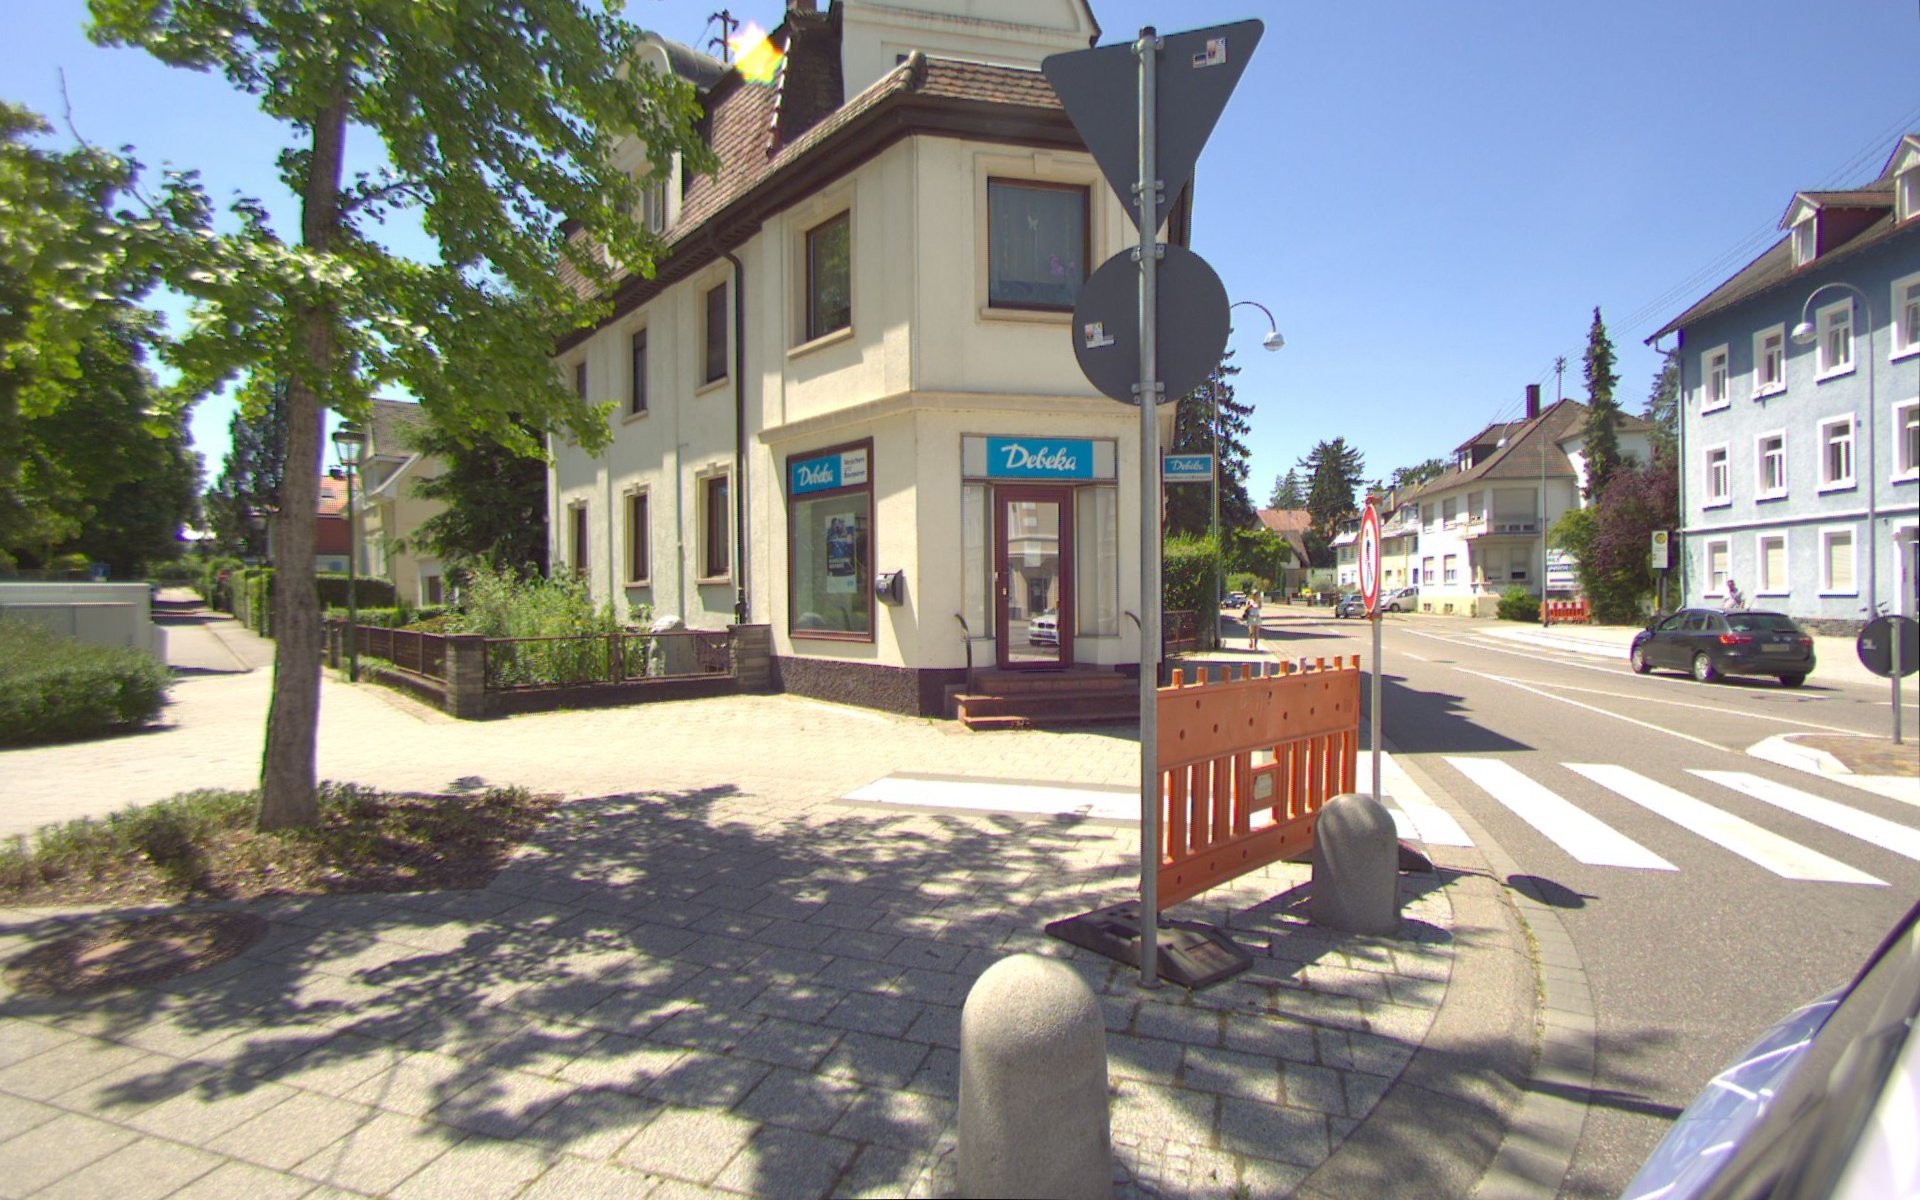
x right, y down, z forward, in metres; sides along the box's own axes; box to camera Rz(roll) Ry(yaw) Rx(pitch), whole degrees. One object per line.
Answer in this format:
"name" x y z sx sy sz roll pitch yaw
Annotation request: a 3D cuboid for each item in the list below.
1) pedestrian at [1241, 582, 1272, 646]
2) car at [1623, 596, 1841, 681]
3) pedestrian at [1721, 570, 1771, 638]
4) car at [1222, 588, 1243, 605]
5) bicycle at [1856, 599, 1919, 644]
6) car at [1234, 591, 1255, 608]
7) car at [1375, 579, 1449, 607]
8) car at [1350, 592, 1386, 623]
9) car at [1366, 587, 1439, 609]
"pedestrian" 8.079 0.370 27.560 0.615 1.664 0.769 4 1 11
"car" 14.963 0.682 19.907 1.637 1.470 4.013 1 0 8
"pedestrian" 22.623 0.117 29.140 0.745 1.871 0.770 -4 -1 7
"car" 25.188 -0.328 93.727 1.664 1.473 3.725 -2 0 13
"bicycle" 23.119 0.509 25.147 0.491 0.989 1.962 -5 0 18
"car" 28.845 -0.047 102.750 1.798 1.549 3.937 -1 2 12
"car" 31.481 -0.494 70.567 4.284 1.901 1.849 1 0 2
"car" 24.790 0.479 61.586 1.823 1.549 4.360 5 -1 21
"car" 31.847 -0.162 72.981 4.414 1.514 1.970 1 0 10
